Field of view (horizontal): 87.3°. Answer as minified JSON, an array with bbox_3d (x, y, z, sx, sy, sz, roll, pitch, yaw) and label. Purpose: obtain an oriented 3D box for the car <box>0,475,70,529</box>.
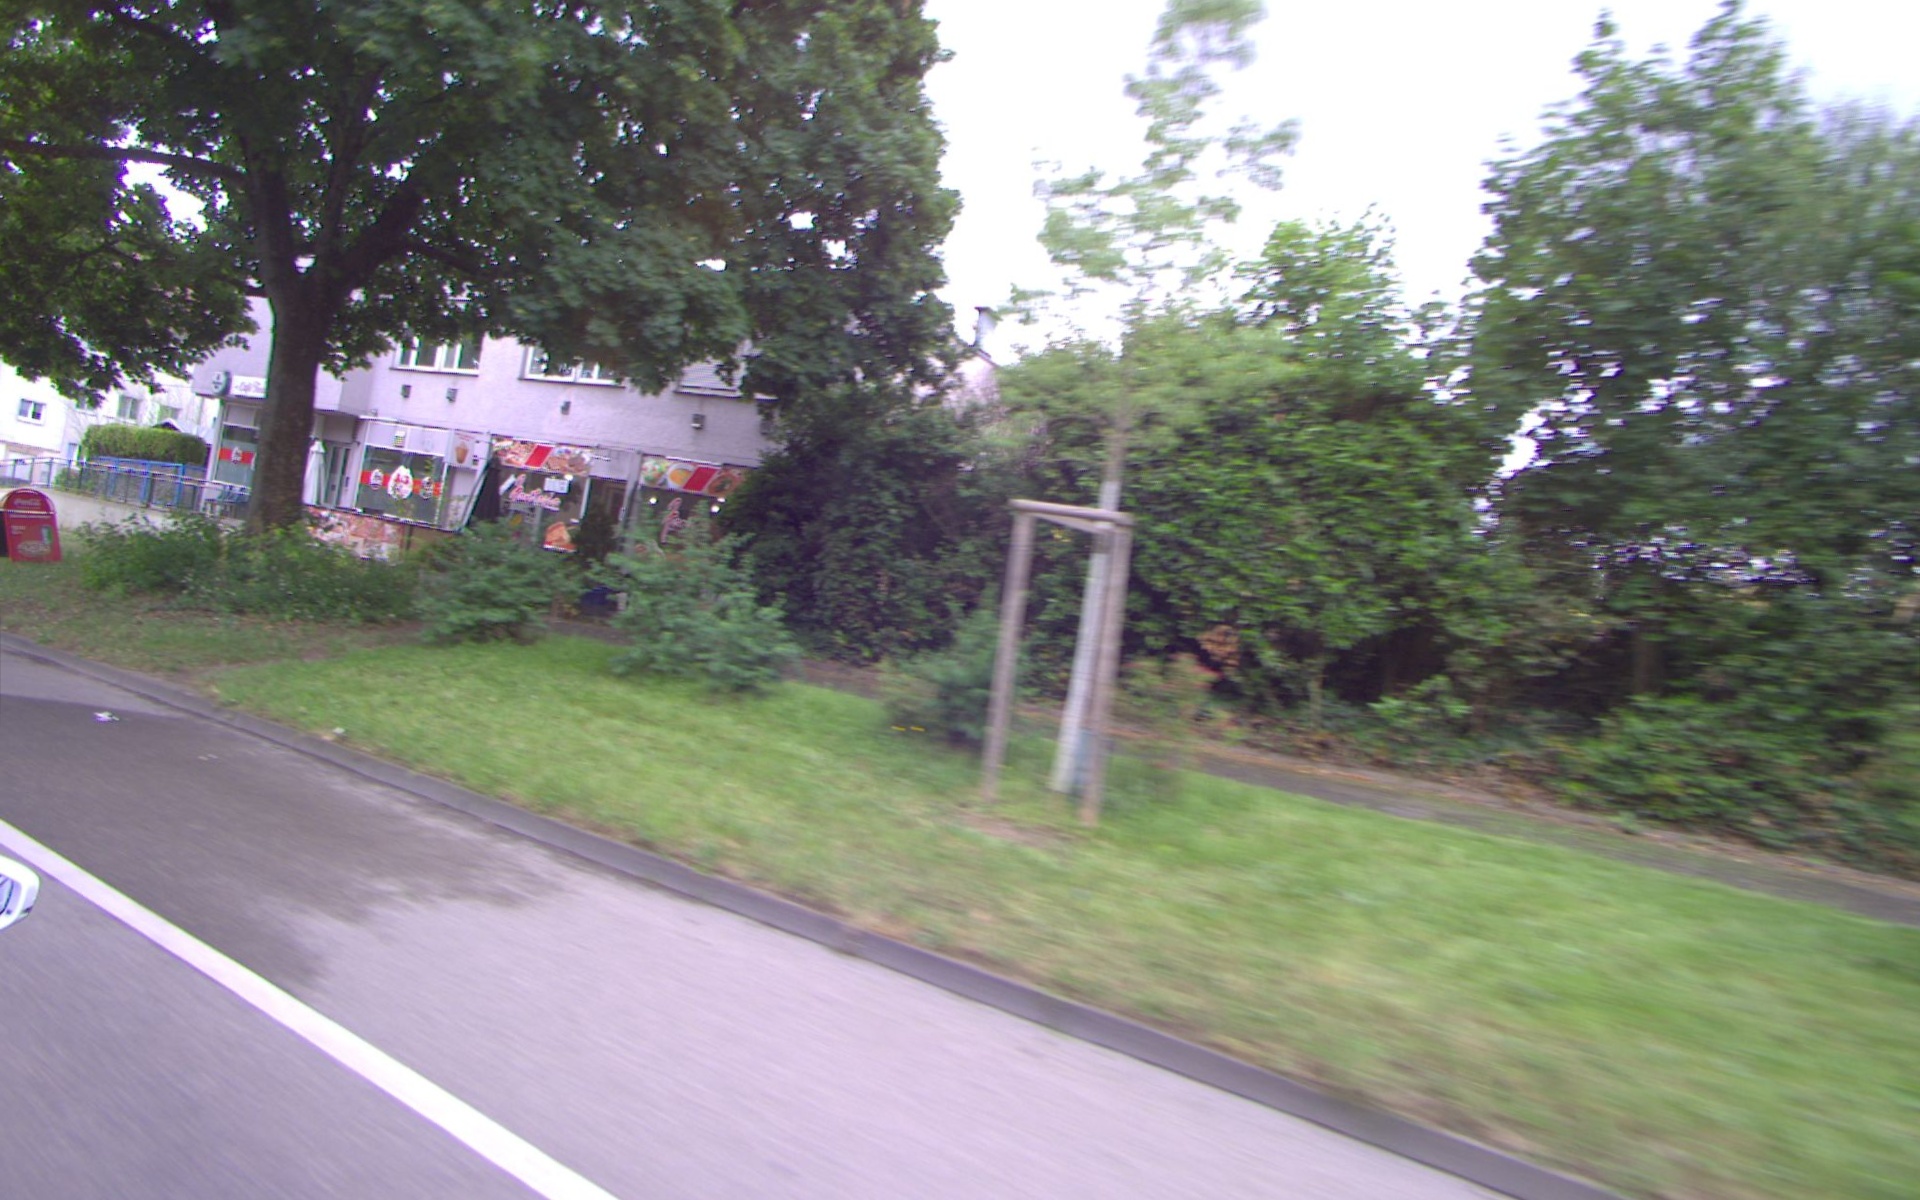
[{"bbox_3d":[-33.538,-3.563,35.336,3.928,1.489,1.877,8,-2,25],"label":"car"}]
